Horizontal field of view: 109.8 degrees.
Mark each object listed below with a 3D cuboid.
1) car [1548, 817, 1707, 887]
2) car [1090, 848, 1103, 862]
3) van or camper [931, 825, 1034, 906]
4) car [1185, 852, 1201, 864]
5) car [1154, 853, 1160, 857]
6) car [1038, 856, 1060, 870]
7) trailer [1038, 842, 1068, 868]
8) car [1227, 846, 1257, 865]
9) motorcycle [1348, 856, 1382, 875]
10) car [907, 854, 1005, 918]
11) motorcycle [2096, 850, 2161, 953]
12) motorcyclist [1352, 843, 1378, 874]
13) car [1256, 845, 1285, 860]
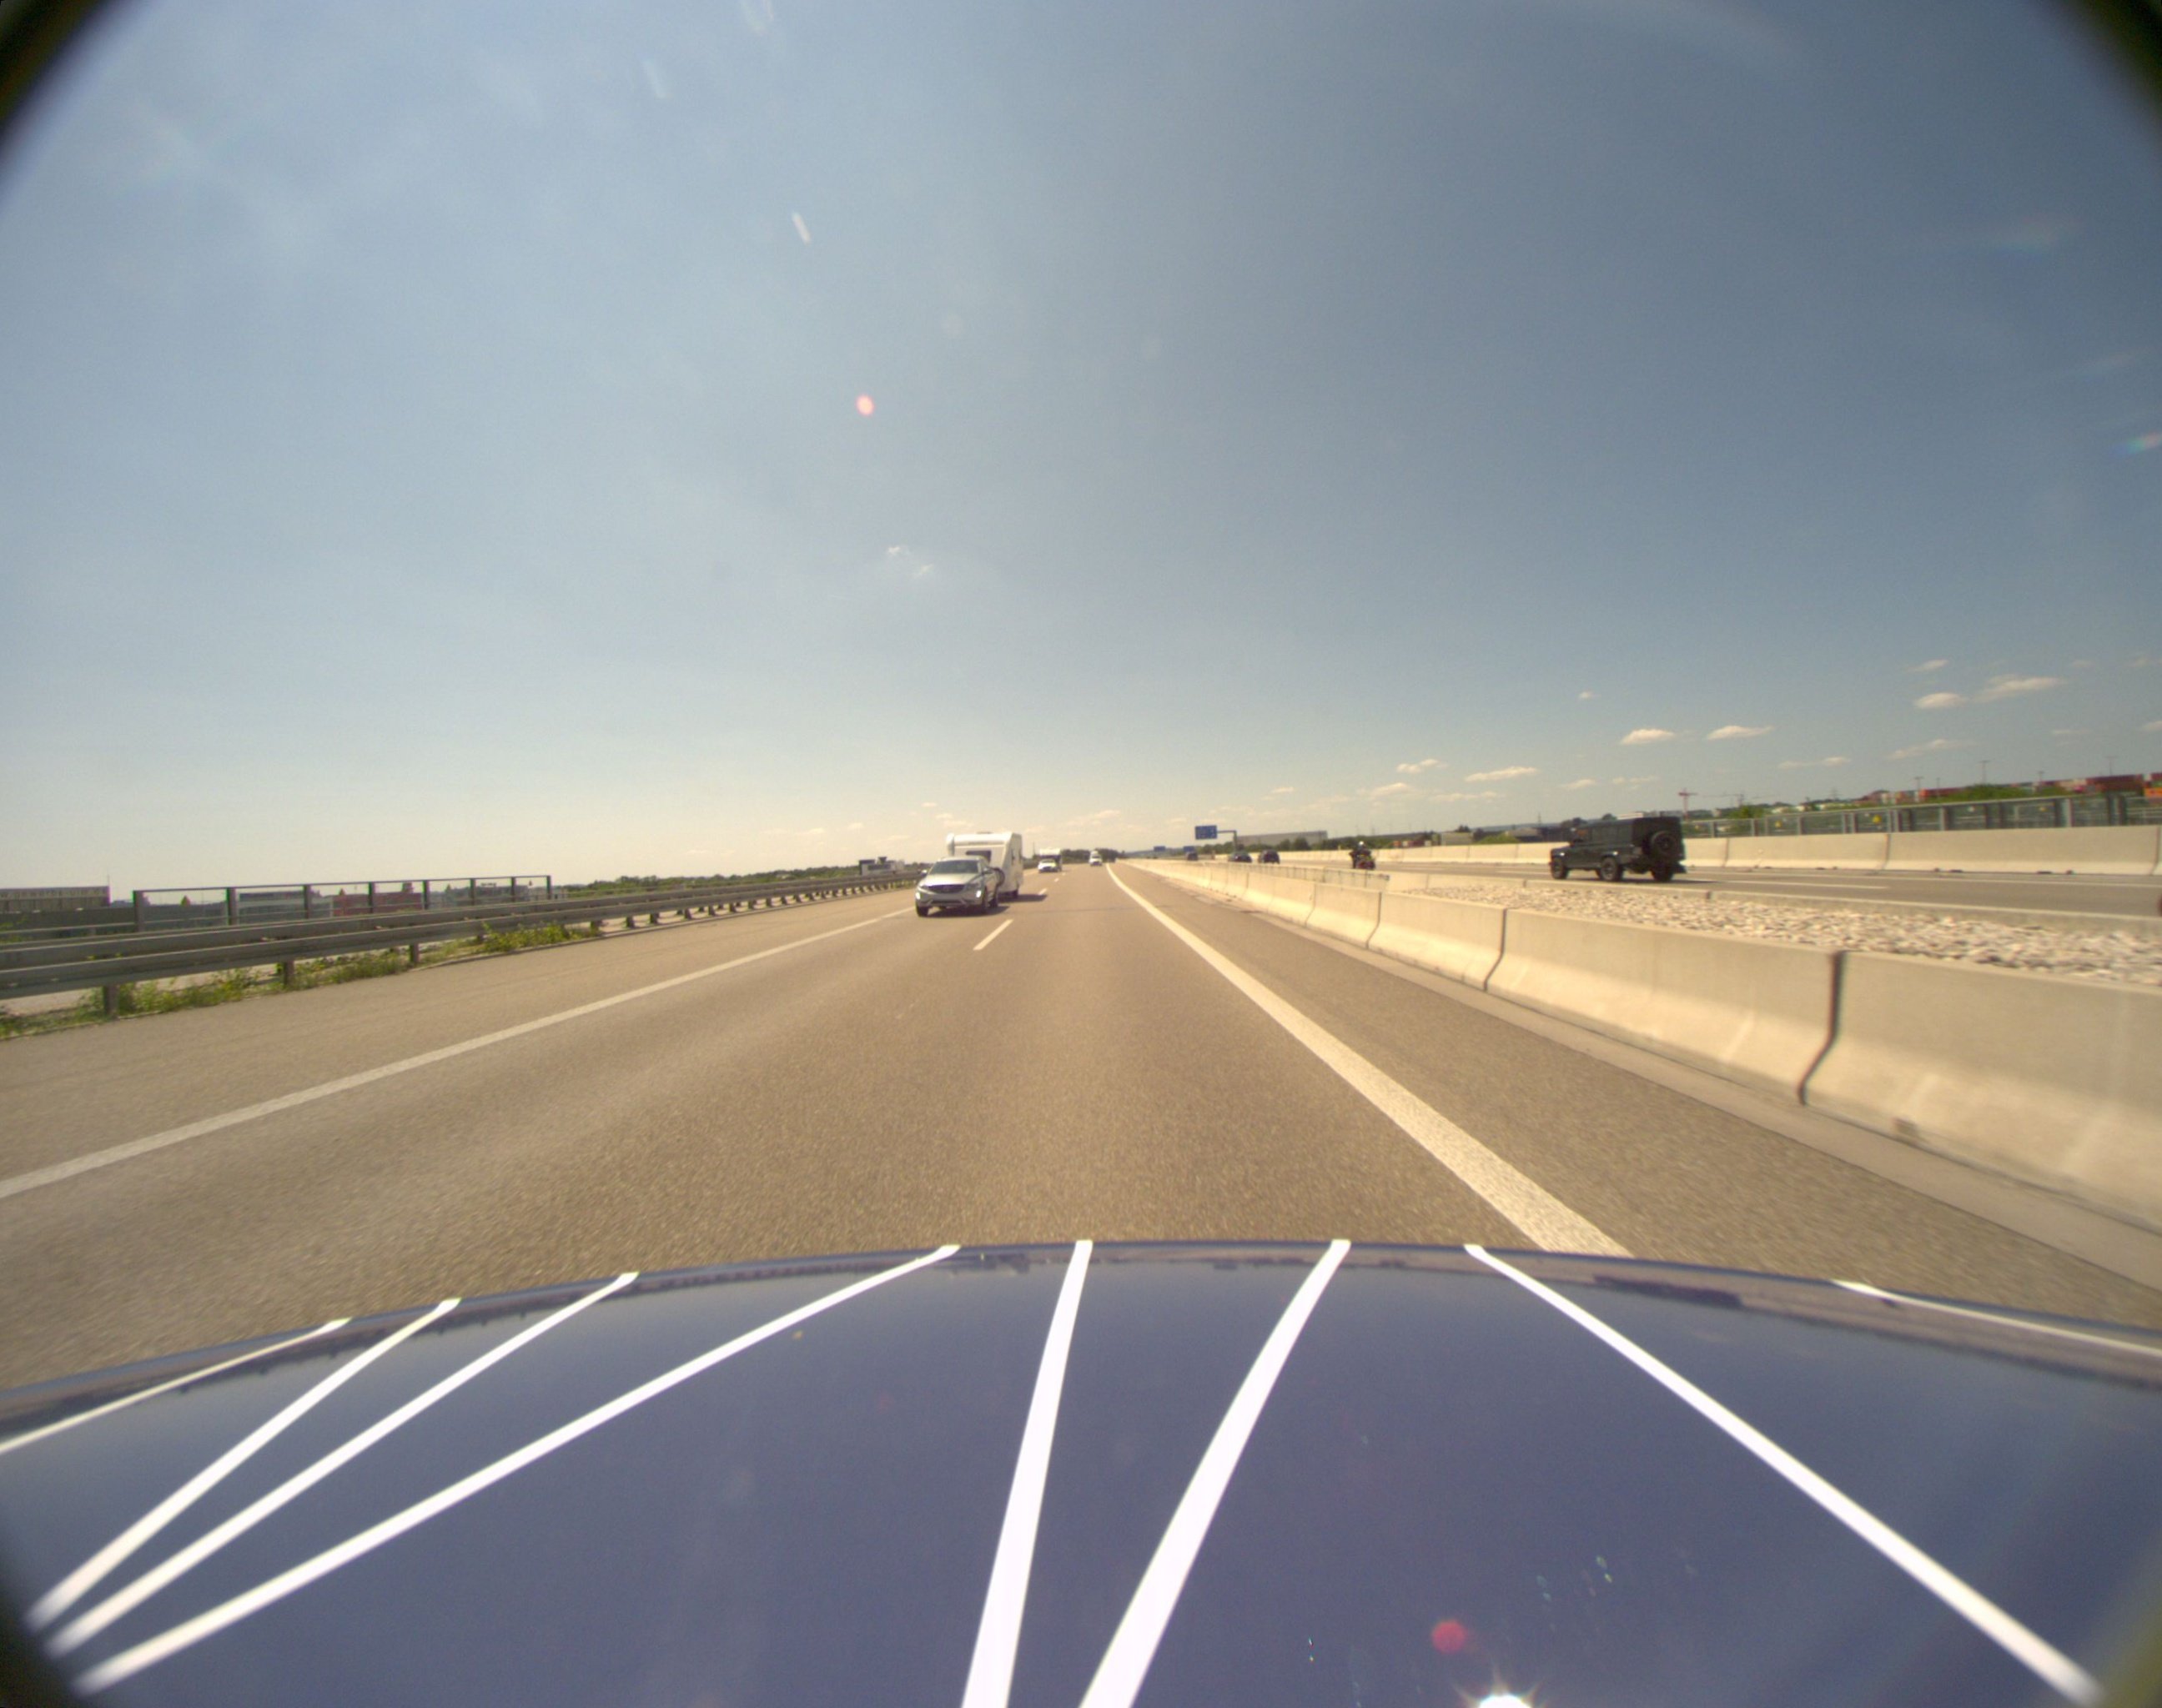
[{"bbox_3d":[17.562,-0.072,24.753,1.889,2.006,4.735,-2,0,2],"label":"car"},{"bbox_3d":[2.507,0.145,121.905,1.998,2.002,4.000,-2,0,2],"label":"car"},{"bbox_3d":[-3.472,0.408,28.812,2.518,2.577,7.819,-2,-1,2],"label":"van or camper"},{"bbox_3d":[17.765,0.632,120.565,1.889,1.676,5.016,-2,0,2],"label":"car"},{"bbox_3d":[26.480,0.355,265.457,1.915,1.411,4.551,-2,0,2],"label":"car"},{"bbox_3d":[-3.328,0.929,80.087,1.872,1.351,3.674,-1,-1,4],"label":"car"},{"bbox_3d":[-3.074,0.122,85.482,2.500,2.686,7.157,-2,-1,4],"label":"trailer"},{"bbox_3d":[15.446,0.107,72.907,1.998,1.659,4.650,-2,0,2],"label":"car"},{"bbox_3d":[14.332,0.547,38.371,0.777,0.897,2.705,-2,0,3],"label":"motorcycle"},{"bbox_3d":[-3.545,0.864,22.552,1.885,1.613,4.905,-2,0,2],"label":"car"},{"bbox_3d":[12.978,0.552,8.010,0.960,1.162,2.723,-2,0,2],"label":"motorcycle"},{"bbox_3d":[14.324,0.231,38.315,0.920,1.488,0.923,-2,1,2],"label":"motorcyclist"},{"bbox_3d":[19.498,-0.115,78.329,1.915,1.450,4.284,-2,0,0],"label":"car"}]
